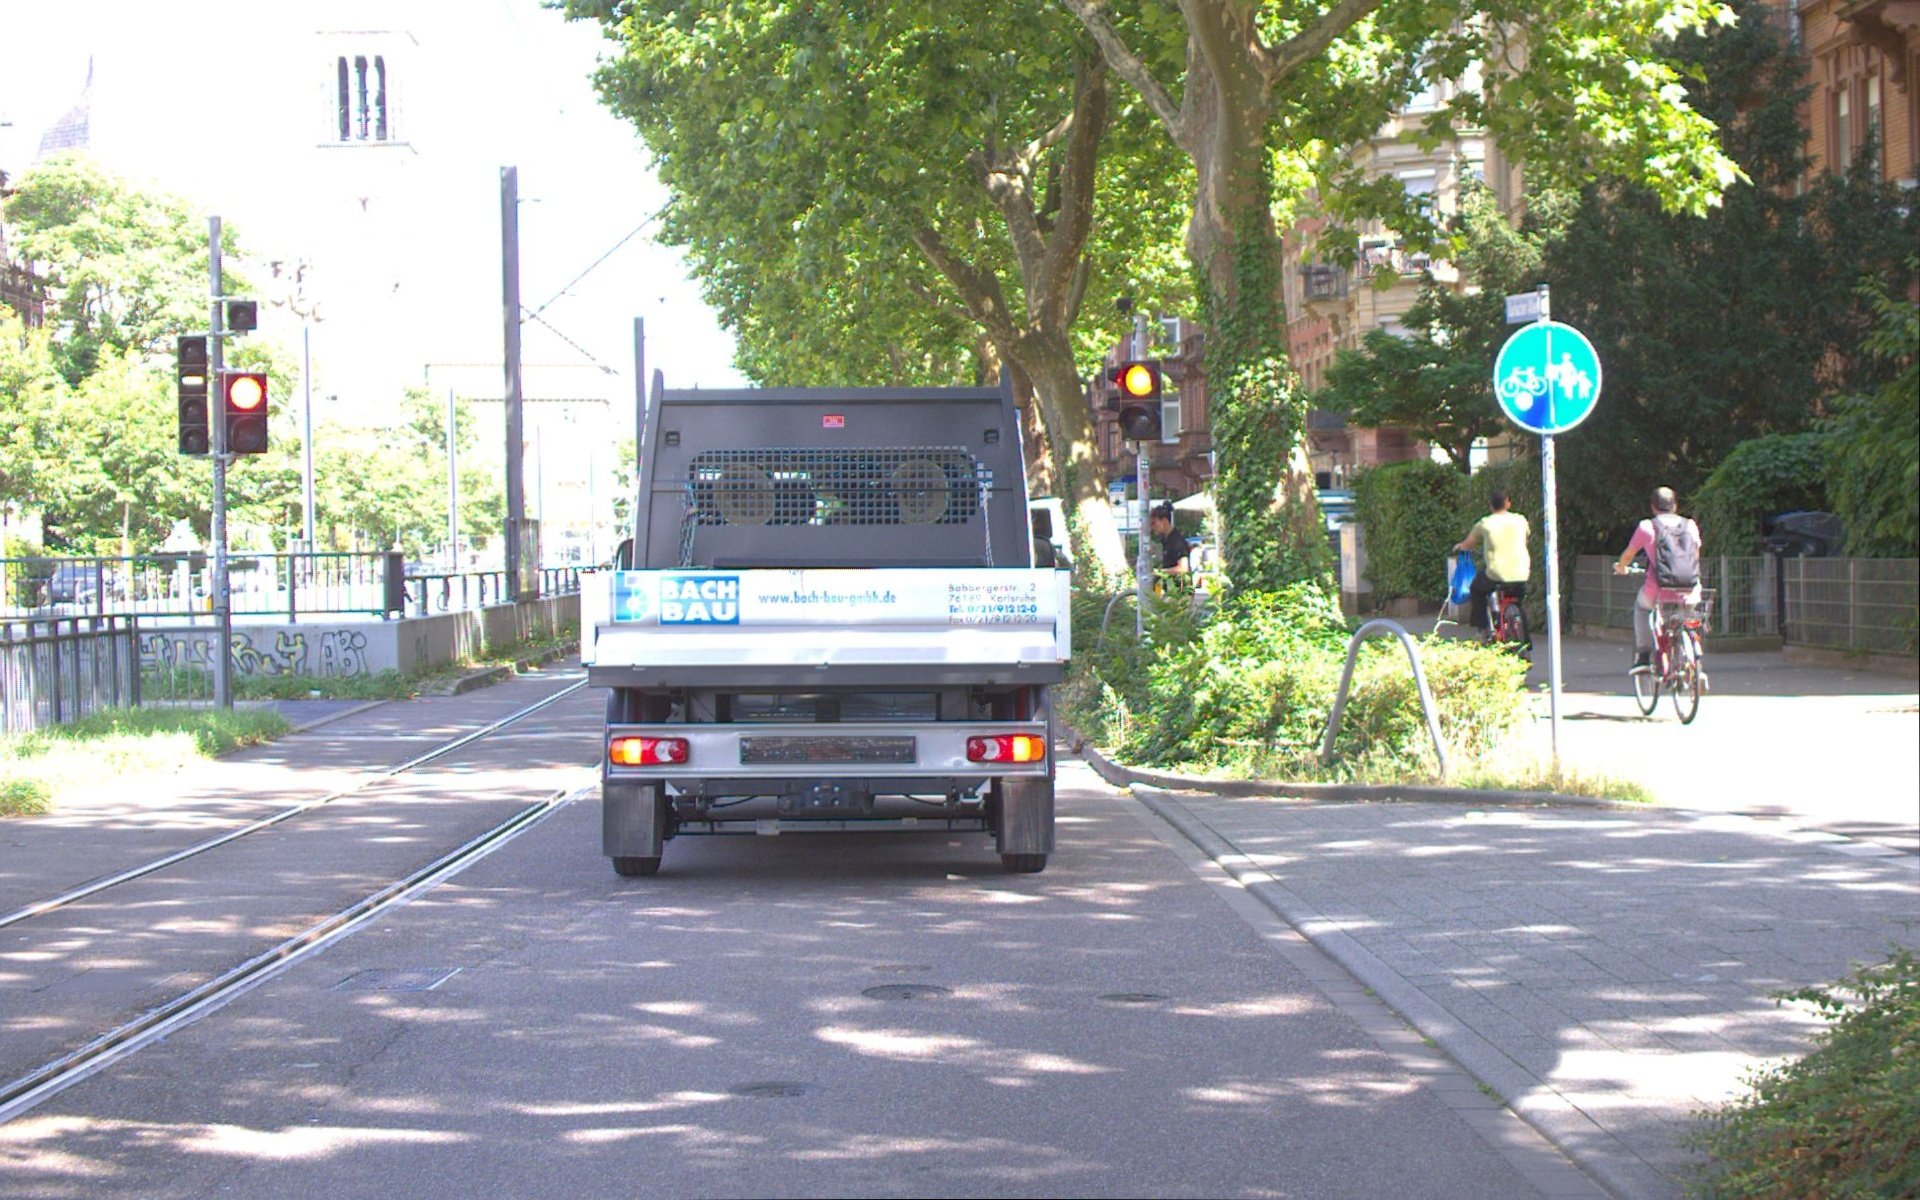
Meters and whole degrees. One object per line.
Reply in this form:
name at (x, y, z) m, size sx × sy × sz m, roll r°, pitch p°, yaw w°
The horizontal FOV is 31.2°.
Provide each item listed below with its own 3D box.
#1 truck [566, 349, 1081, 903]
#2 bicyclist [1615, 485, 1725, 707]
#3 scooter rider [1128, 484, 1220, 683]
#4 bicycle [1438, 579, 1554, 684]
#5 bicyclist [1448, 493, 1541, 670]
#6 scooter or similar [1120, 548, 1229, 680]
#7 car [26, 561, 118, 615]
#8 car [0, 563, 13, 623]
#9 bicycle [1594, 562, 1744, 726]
truck at (-0.683, 0.079, 16.677) m, size 2.138 × 2.311 × 4.402 m, roll 1°, pitch 1°, yaw -3°
bicyclist at (5.123, -0.032, 24.823) m, size 0.638 × 1.568 × 0.579 m, roll -1°, pitch 1°, yaw 0°
scooter rider at (2.031, -0.160, 32.518) m, size 0.663 × 1.860 × 0.668 m, roll -1°, pitch 1°, yaw 21°
bicycle at (4.828, 0.269, 31.084) m, size 0.675 × 0.878 × 2.163 m, roll -1°, pitch 1°, yaw 0°
bicyclist at (4.816, -0.171, 31.028) m, size 0.680 × 1.558 × 0.777 m, roll -1°, pitch 1°, yaw -1°
scooter or similar at (2.037, 0.125, 32.522) m, size 0.656 × 1.200 × 1.269 m, roll -1°, pitch 1°, yaw 21°
car at (-25.617, -0.359, 99.305) m, size 1.770 × 1.493 × 4.001 m, roll -1°, pitch 1°, yaw -3°
car at (-24.902, -0.165, 85.953) m, size 1.770 × 1.493 × 4.001 m, roll -1°, pitch 1°, yaw -7°
bicycle at (5.131, 0.294, 24.999) m, size 0.565 × 1.108 × 2.310 m, roll -1°, pitch 1°, yaw -1°
